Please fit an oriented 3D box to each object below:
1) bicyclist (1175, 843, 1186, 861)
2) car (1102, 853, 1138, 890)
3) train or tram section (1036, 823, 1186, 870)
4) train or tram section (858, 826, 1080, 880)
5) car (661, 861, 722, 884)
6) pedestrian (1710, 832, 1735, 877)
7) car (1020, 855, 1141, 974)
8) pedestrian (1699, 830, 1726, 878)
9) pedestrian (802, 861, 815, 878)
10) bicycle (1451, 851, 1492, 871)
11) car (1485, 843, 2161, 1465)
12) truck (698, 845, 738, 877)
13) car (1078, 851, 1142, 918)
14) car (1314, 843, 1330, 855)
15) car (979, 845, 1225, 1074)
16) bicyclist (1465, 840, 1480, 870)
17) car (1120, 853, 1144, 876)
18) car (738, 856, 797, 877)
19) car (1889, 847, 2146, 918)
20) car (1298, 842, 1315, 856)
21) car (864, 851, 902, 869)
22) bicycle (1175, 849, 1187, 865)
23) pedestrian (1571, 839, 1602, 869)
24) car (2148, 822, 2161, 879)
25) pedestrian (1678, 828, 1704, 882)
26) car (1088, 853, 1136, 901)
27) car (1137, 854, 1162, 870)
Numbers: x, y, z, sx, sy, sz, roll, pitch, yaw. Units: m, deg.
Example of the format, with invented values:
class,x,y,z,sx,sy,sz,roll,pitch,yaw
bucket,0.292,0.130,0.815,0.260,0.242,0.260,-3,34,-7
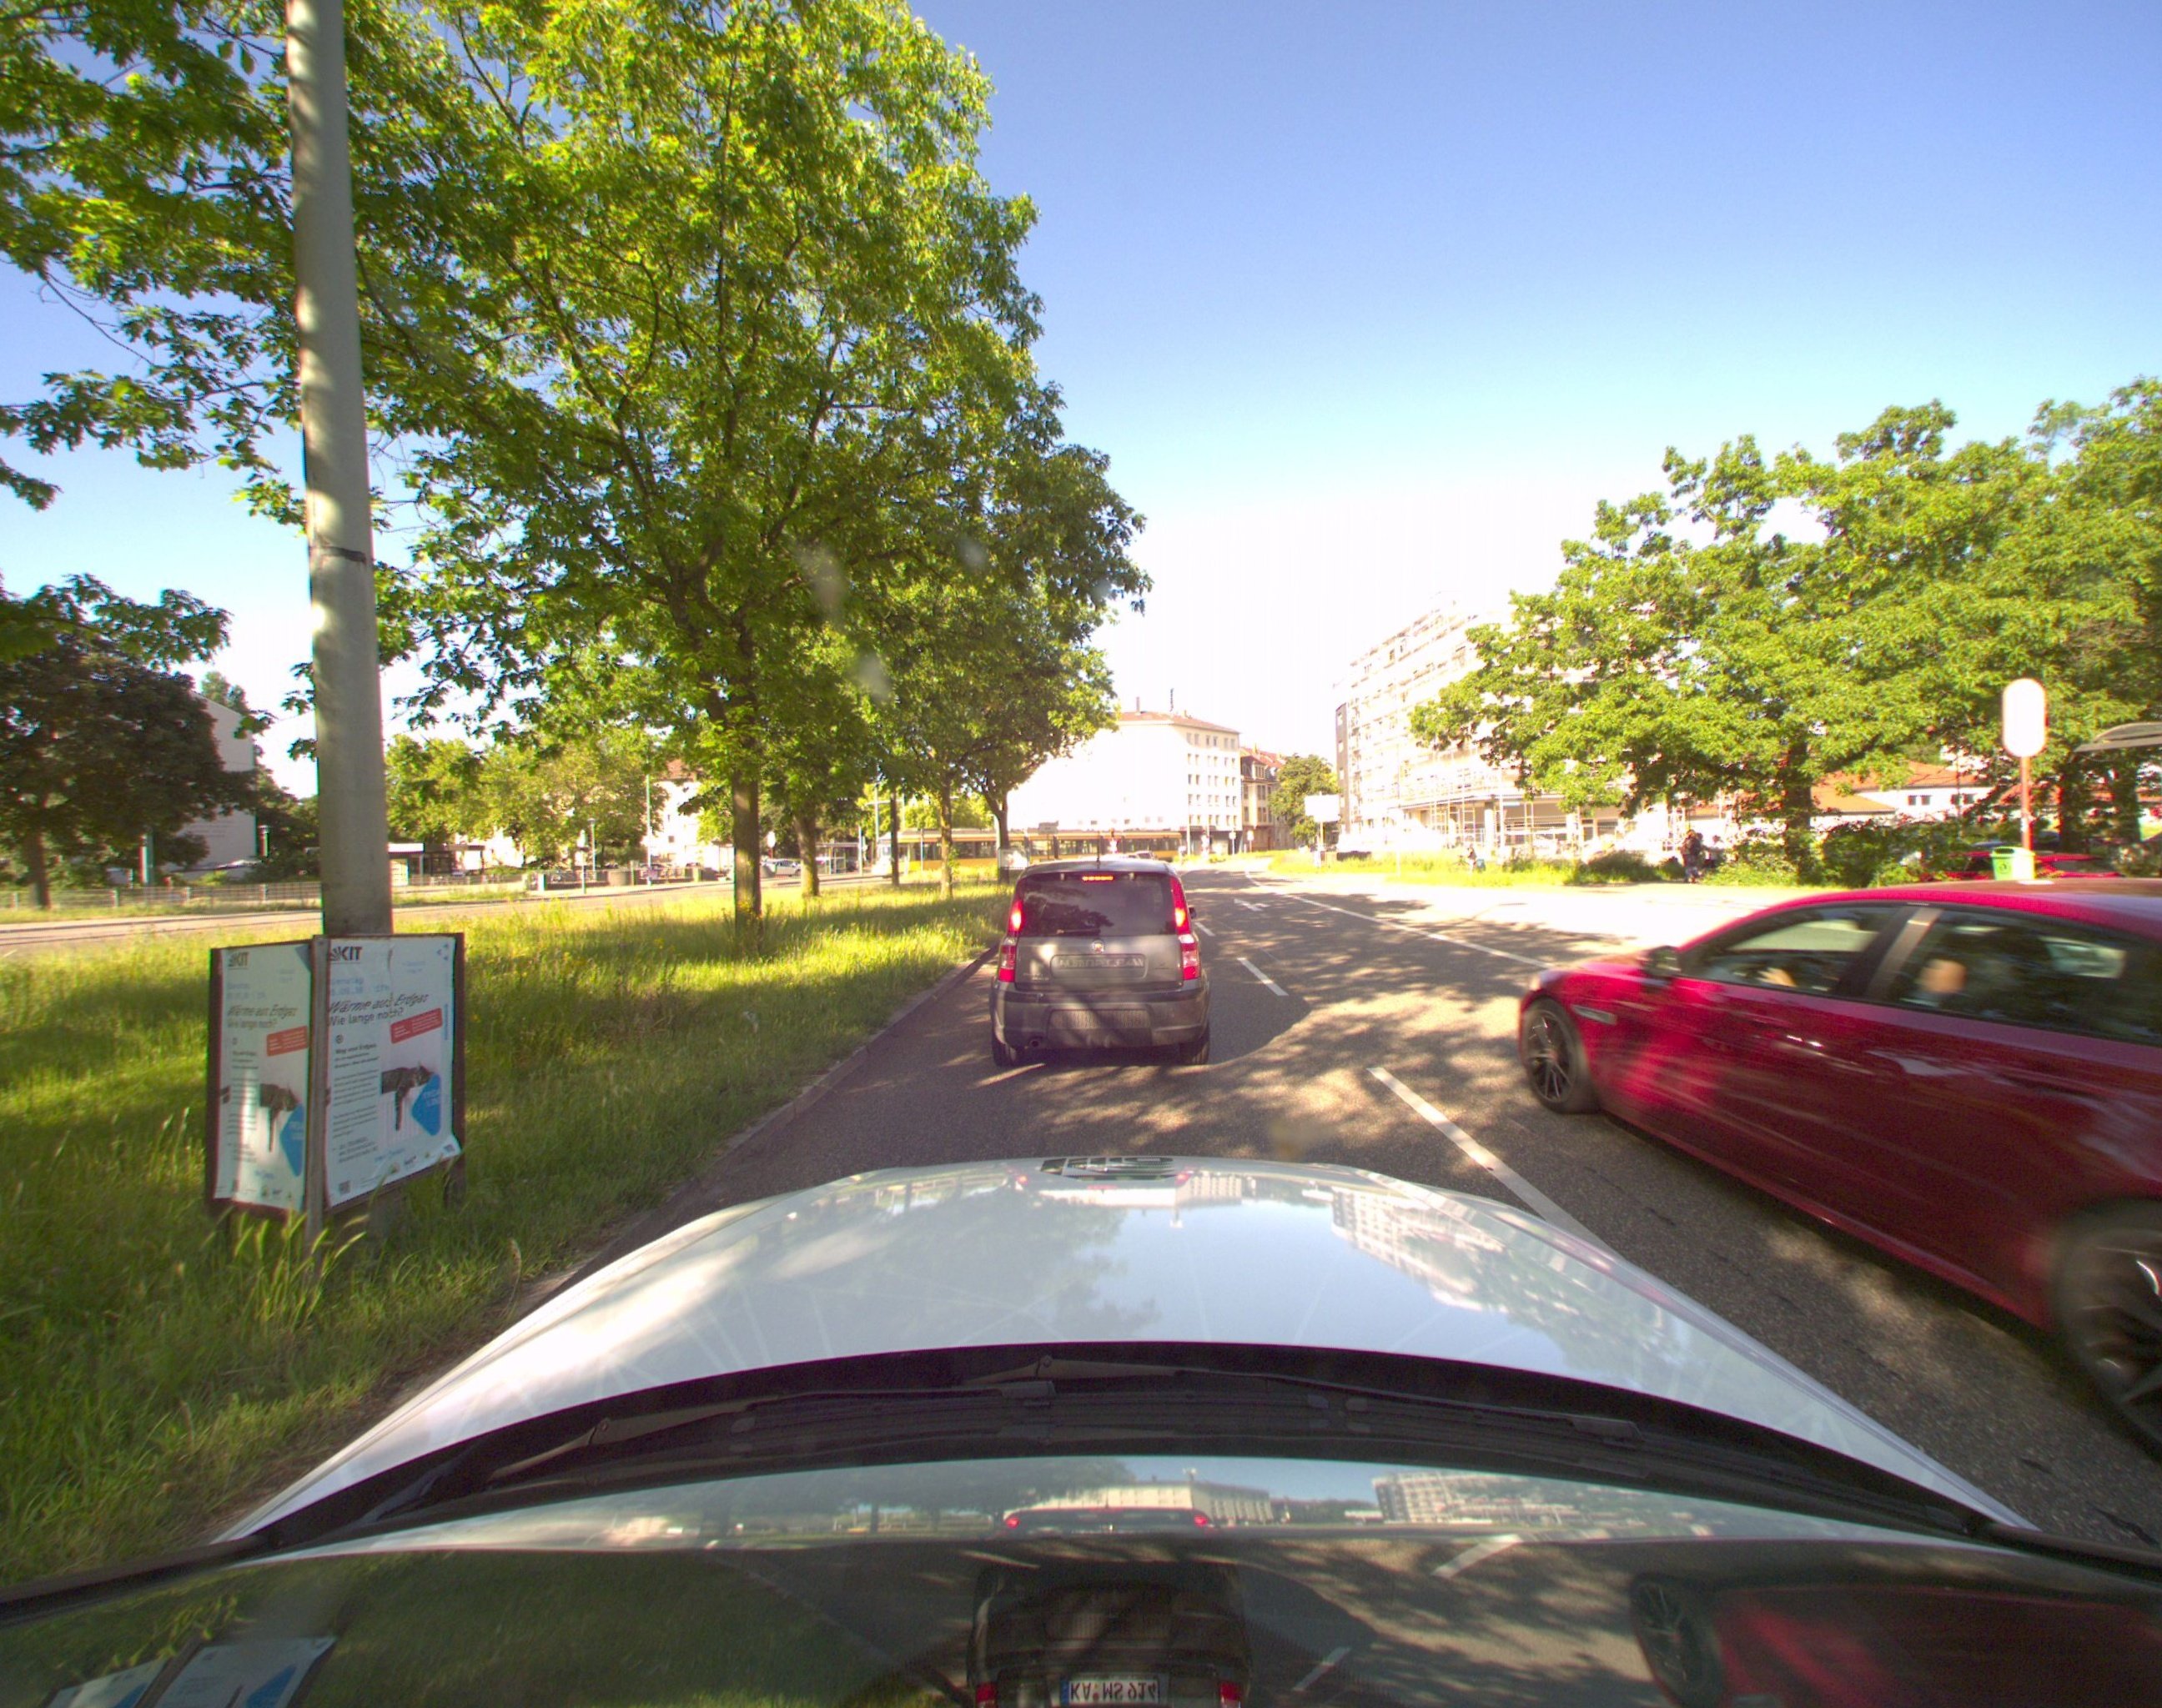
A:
class,x,y,z,sx,sy,sz,roll,pitch,yaw
bicyclist,7.796,-0.151,63.708,0.739,1.438,0.845,0,-1,0
car,1.604,0.694,33.967,1.351,1.449,3.267,-2,0,2
train or tram section,3.539,-0.829,76.305,3.263,3.770,20.944,-2,0,34
train or tram section,-7.590,-0.274,61.599,3.264,3.513,19.508,-2,0,39
car,-31.986,1.475,66.877,1.974,1.684,4.025,-2,0,40
pedestrian,20.947,0.014,26.595,0.516,1.447,0.595,-2,0,28
car,0.051,0.750,11.763,1.458,1.401,3.395,-2,0,2
pedestrian,19.352,-0.003,24.958,0.516,1.447,0.595,-2,0,28
pedestrian,-26.307,1.464,78.533,0.910,1.607,0.802,-2,0,41
bicycle,19.537,0.331,40.761,1.776,0.945,0.562,-2,0,16
car,3.562,0.709,3.168,1.880,1.428,4.389,-2,1,2
truck,-33.072,0.636,74.204,2.012,2.805,3.951,-2,0,-44
car,0.728,0.700,20.794,1.458,1.508,3.506,-2,0,2
car,27.745,-0.535,93.558,1.514,1.314,3.304,-2,0,20
car,0.207,0.706,7.535,1.622,1.508,4.002,-2,0,2
bicyclist,19.574,0.064,40.742,0.579,1.493,0.553,-2,0,17
car,3.099,0.622,49.678,1.351,1.281,2.877,-2,0,2
car,-27.315,1.072,71.068,1.974,1.684,4.348,-2,0,40
car,21.989,0.599,19.374,1.747,1.486,3.743,-2,0,-2
car,24.919,-0.538,89.996,1.669,1.449,3.588,-2,0,18
car,-23.994,0.722,98.750,4.164,2.013,1.931,-2,0,-1
bicycle,7.817,0.264,63.859,0.706,1.198,2.520,0,-1,1
pedestrian,25.454,-0.012,41.033,0.893,1.447,0.962,-2,0,-13
car,29.854,-0.120,20.177,1.911,1.486,3.725,-2,0,-17
pedestrian,18.542,0.015,24.778,0.516,1.612,0.595,-2,0,28
car,1.032,0.729,27.398,1.458,1.424,3.383,-2,1,2
car,4.868,0.576,57.716,1.133,1.064,2.735,-2,0,19
